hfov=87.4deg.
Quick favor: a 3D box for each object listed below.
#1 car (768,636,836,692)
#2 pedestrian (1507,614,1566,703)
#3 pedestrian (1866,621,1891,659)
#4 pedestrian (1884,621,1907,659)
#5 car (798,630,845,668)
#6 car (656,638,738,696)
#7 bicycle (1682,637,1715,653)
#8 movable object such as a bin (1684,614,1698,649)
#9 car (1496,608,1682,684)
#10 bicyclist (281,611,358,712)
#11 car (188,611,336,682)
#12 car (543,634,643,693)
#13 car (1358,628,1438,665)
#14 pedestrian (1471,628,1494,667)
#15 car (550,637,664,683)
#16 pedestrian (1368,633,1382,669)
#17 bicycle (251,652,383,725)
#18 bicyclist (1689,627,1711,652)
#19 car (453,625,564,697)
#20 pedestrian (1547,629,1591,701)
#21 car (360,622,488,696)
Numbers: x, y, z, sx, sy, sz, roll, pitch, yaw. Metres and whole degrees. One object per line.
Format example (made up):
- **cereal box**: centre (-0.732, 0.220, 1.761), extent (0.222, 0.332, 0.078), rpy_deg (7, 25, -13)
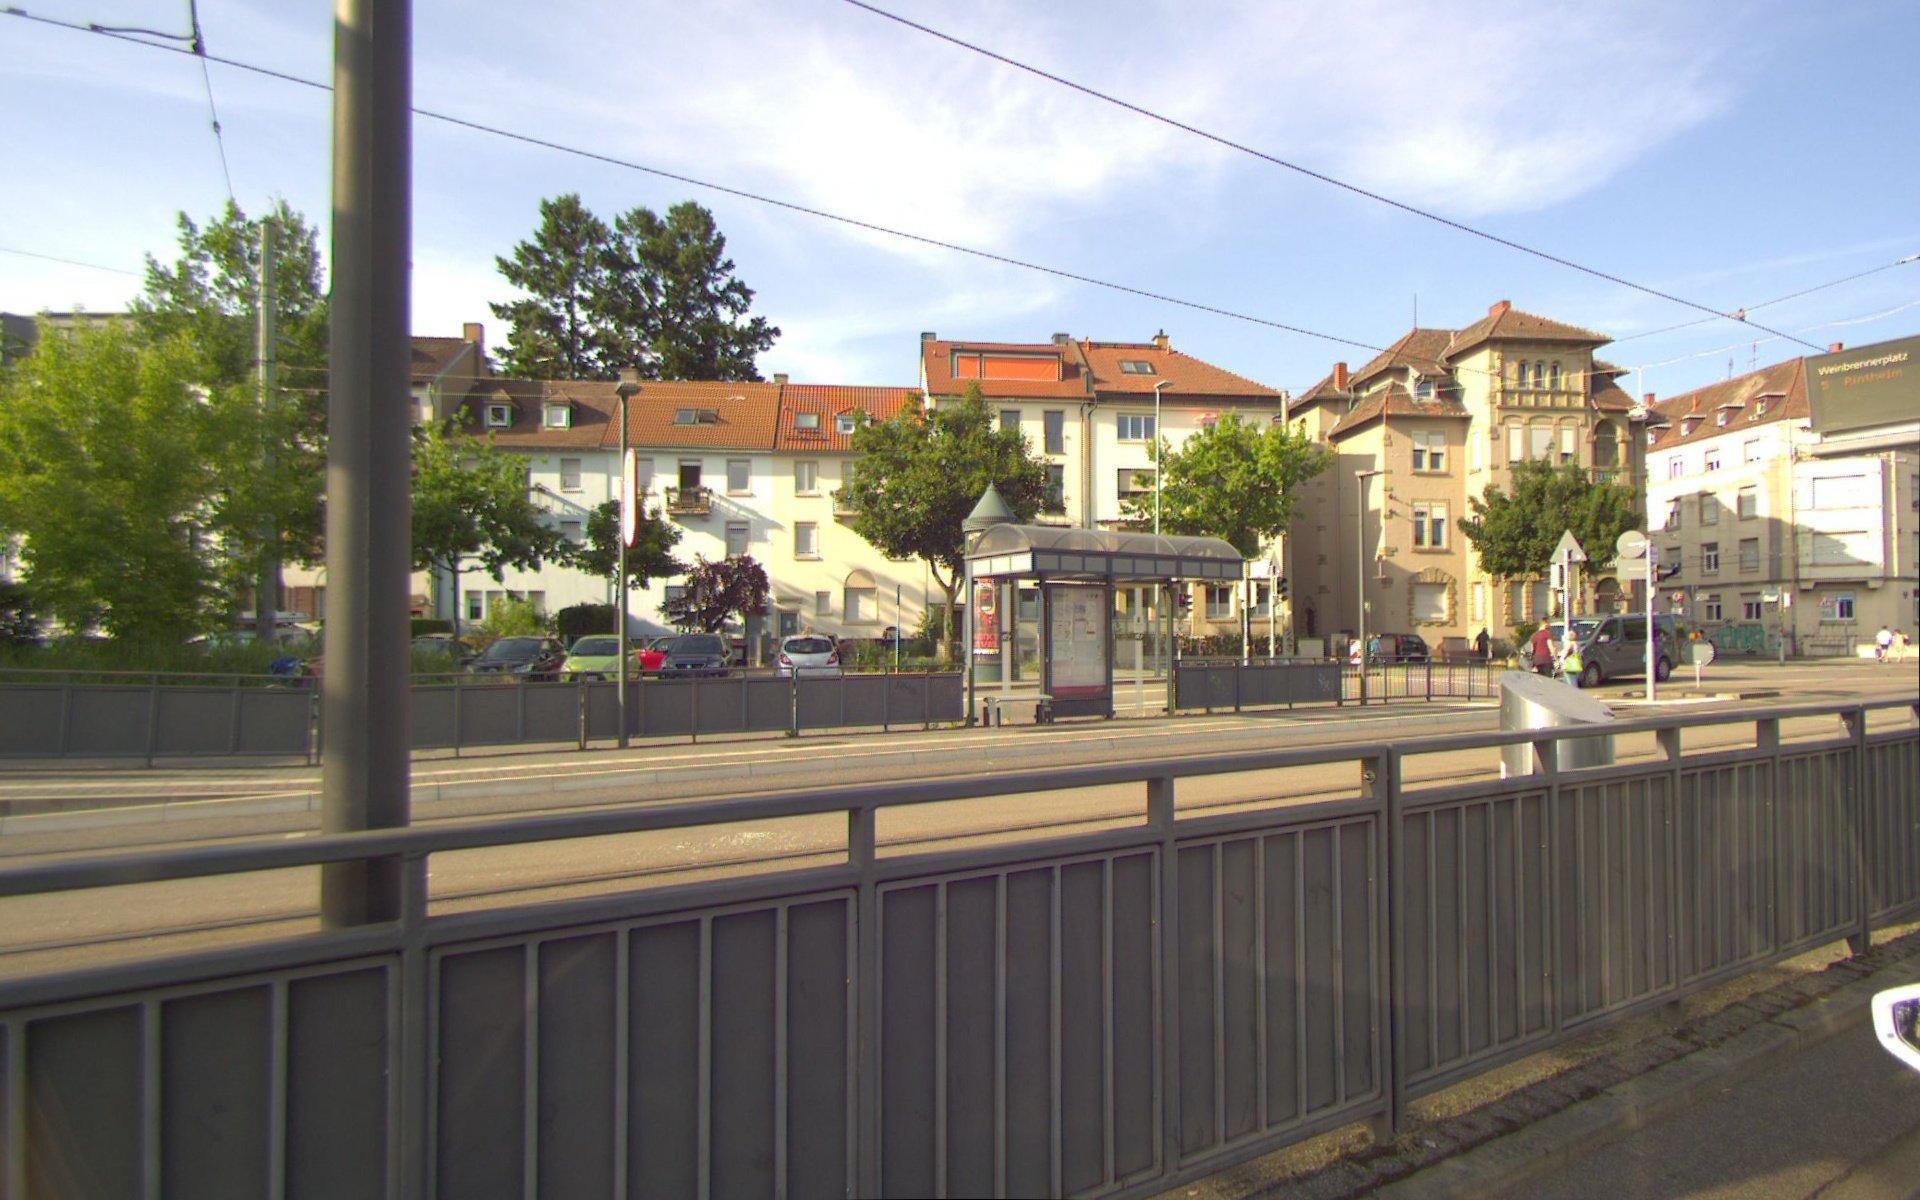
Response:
- **car**: centre (-4.375, 1.727, 27.971), extent (1.740, 1.447, 3.995), rpy_deg (0, -2, -9)
- **pedestrian**: centre (11.273, 1.130, 19.646), extent (0.874, 1.692, 0.666), rpy_deg (1, -2, -33)
- **pedestrian**: centre (47.105, 2.045, 51.510), extent (0.616, 1.905, 0.659), rpy_deg (0, -2, -15)
- **pedestrian**: centre (47.127, 2.009, 50.585), extent (0.642, 1.872, 0.670), rpy_deg (1, -2, -32)
- **car**: centre (-6.062, 2.126, 44.371), extent (1.821, 1.578, 3.998), rpy_deg (0, -2, -4)
- **car**: centre (-7.071, 1.761, 27.343), extent (1.740, 1.447, 3.995), rpy_deg (0, -2, -9)
- **bicycle**: centre (48.091, 2.940, 65.416), extent (0.728, 1.019, 1.998), rpy_deg (0, -2, 2)
- **movable object such as a bin**: centre (36.885, 1.577, 50.685), extent (0.259, 1.732, 2.379), rpy_deg (-1, -2, 29)
- **car**: centre (18.234, 1.310, 29.095), extent (5.317, 2.040, 2.138), rpy_deg (1, -2, -27)
- **bicyclist**: centre (-10.940, 1.024, 17.199), extent (1.059, 1.646, 0.701), rpy_deg (0, 1, -29)
- **car**: centre (-18.966, 1.252, 27.527), extent (1.822, 1.777, 3.993), rpy_deg (0, -2, -11)
- **car**: centre (-9.733, 1.642, 26.936), extent (1.740, 1.447, 3.995), rpy_deg (0, -2, -9)
- **car**: centre (20.435, 2.147, 47.055), extent (1.742, 1.653, 3.998), rpy_deg (0, -2, -5)
- **pedestrian**: centre (22.555, 2.058, 43.389), extent (0.592, 1.673, 0.681), rpy_deg (0, -1, -3)
- **car**: centre (-12.186, 2.063, 34.862), extent (3.444, 1.544, 1.567), rpy_deg (0, -2, -7)
- **pedestrian**: centre (17.975, 2.221, 43.523), extent (0.382, 1.535, 0.405), rpy_deg (0, -2, -3)
- **bicycle**: centre (-10.955, 1.489, 17.198), extent (1.842, 1.125, 0.722), rpy_deg (1, 1, -30)
- **bicyclist**: centre (48.075, 2.582, 65.273), extent (0.648, 1.590, 1.044), rpy_deg (0, -2, 2)
- **car**: centre (-11.976, 1.583, 26.908), extent (1.822, 1.777, 3.993), rpy_deg (0, -2, -11)
- **pedestrian**: centre (13.896, 1.473, 22.921), extent (0.708, 1.610, 0.586), rpy_deg (1, -2, -34)
- **car**: centre (-13.889, 1.501, 26.289), extent (1.822, 1.777, 3.993), rpy_deg (0, -2, -11)
